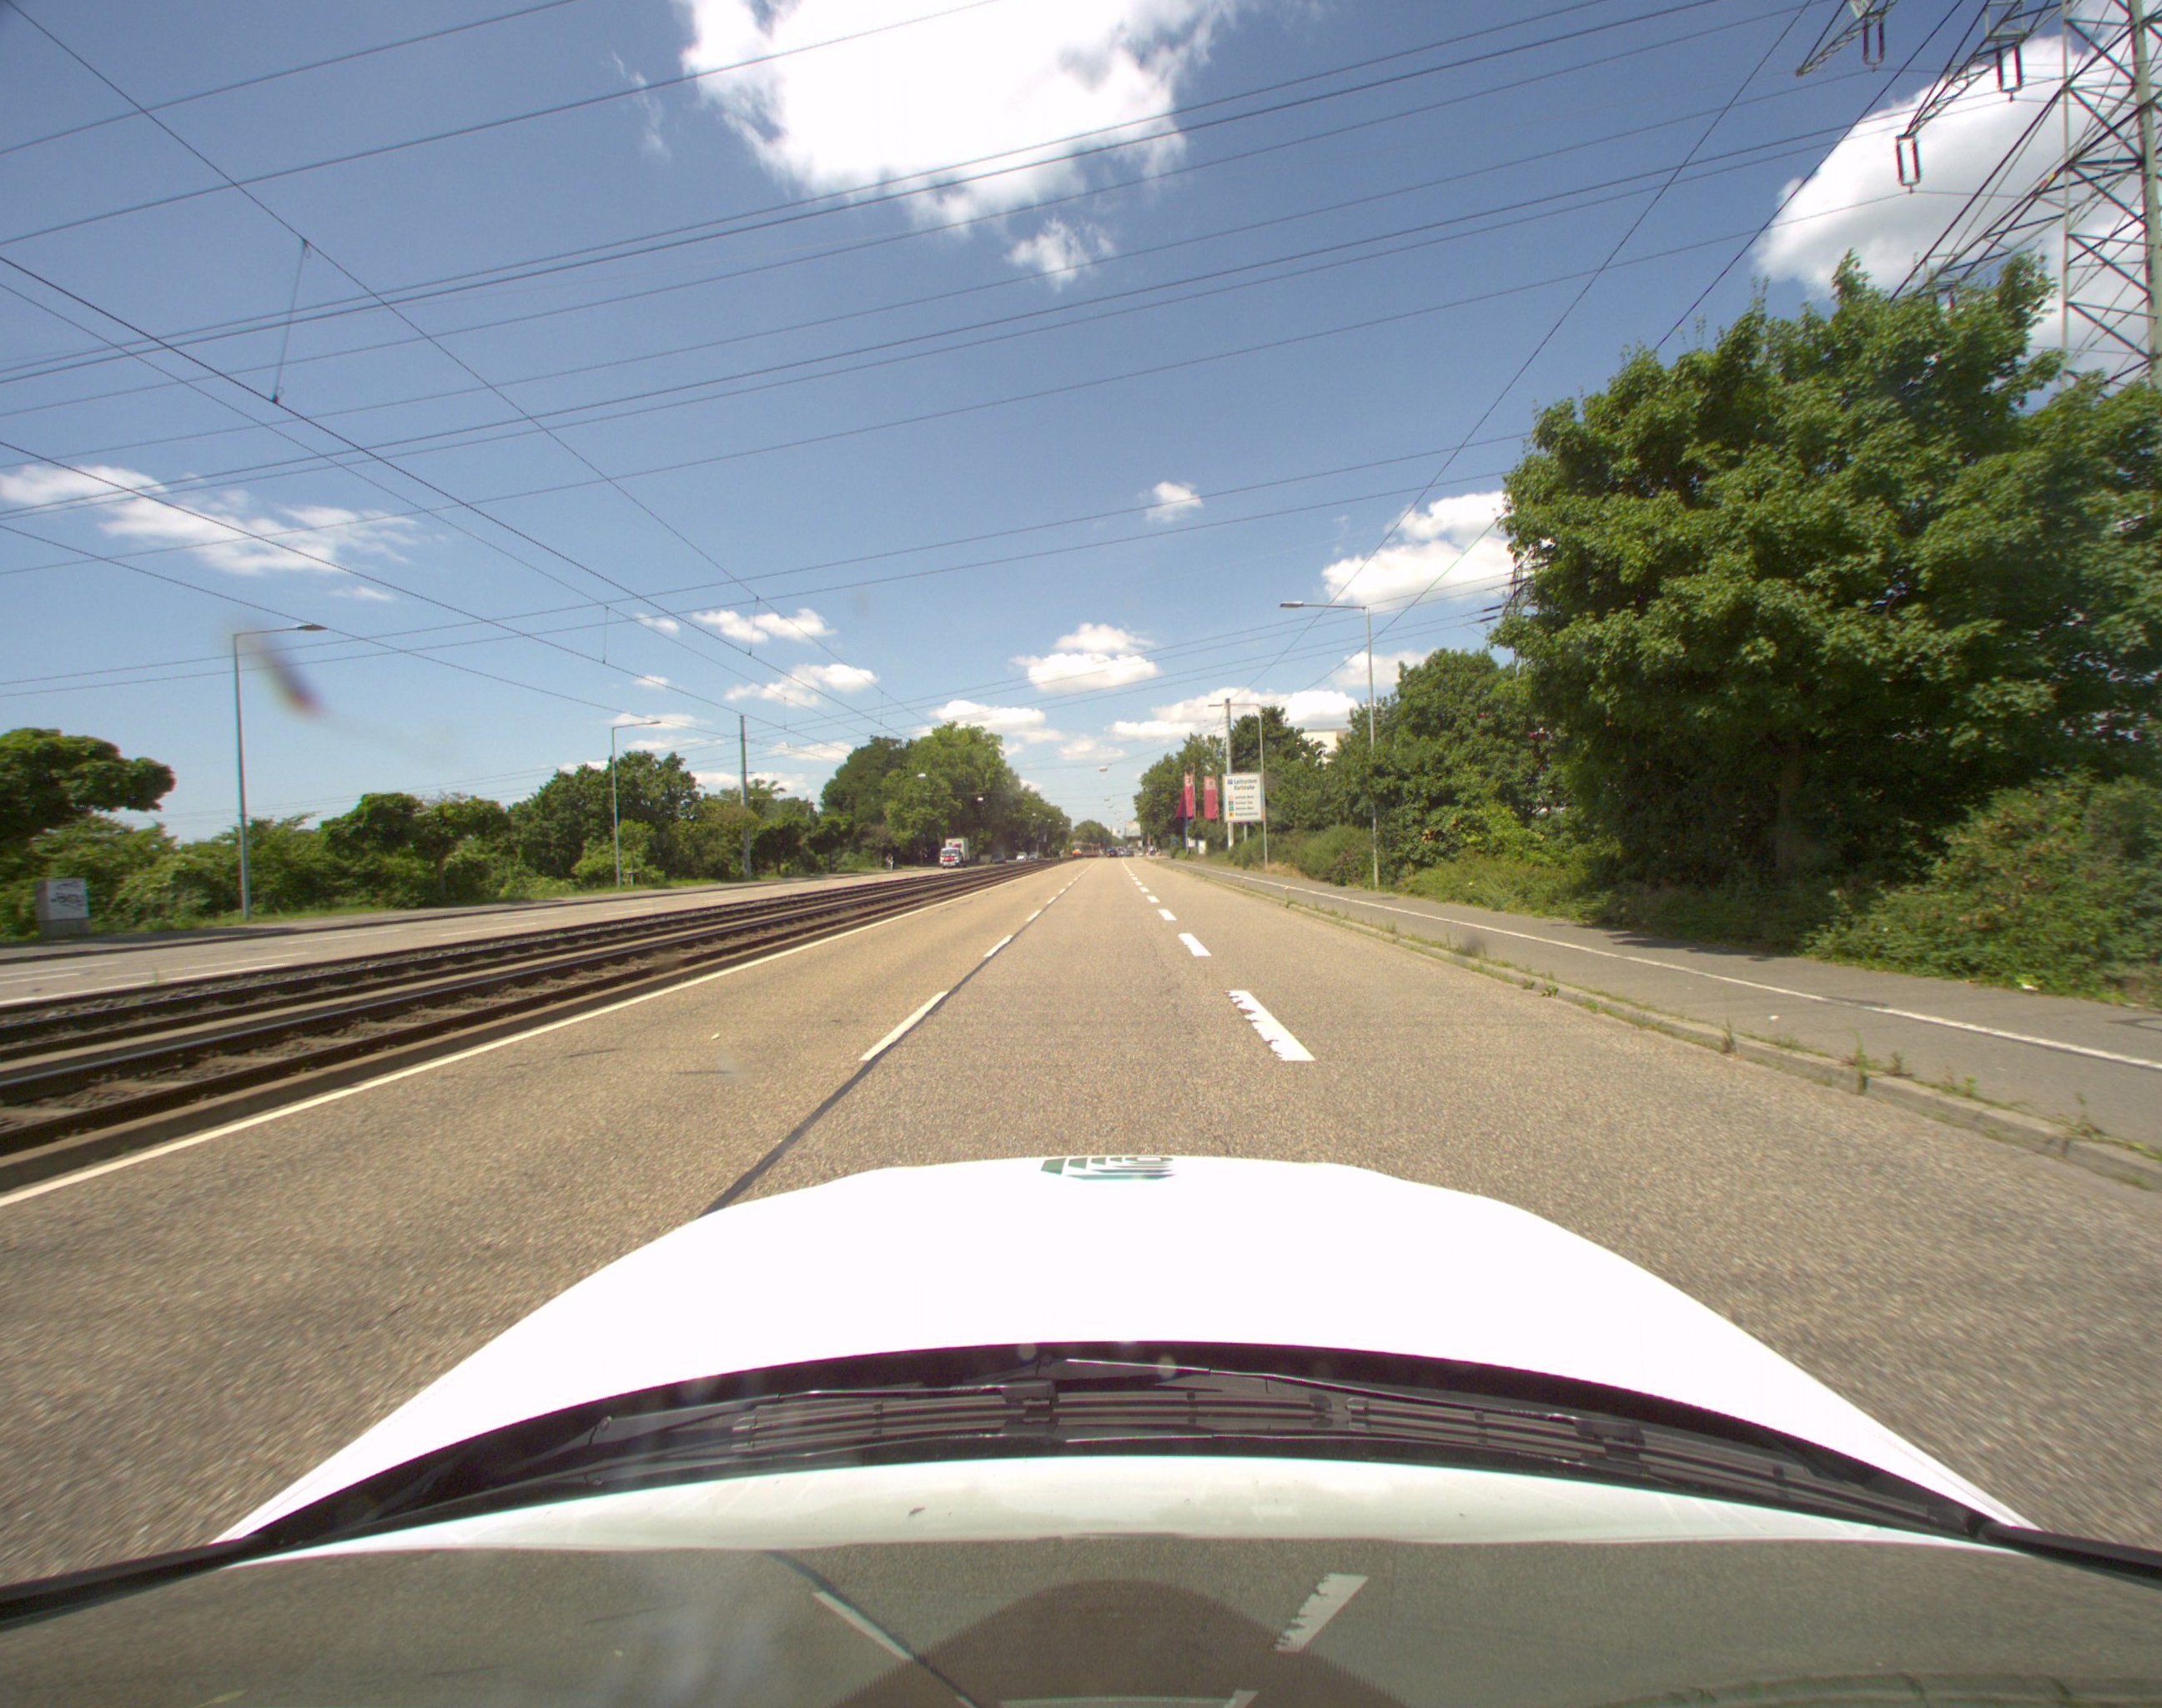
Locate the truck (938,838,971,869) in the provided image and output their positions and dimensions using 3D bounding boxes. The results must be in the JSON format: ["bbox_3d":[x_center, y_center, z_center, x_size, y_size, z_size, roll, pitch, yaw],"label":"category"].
[{"bbox_3d":[-13.722,-0.053,88.600,2.240,3.236,6.048,-2,0,4],"label":"truck"}]

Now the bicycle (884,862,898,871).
[{"bbox_3d":[-18.396,1.203,78.766,0.647,0.859,2.124,0,0,6],"label":"bicycle"}]

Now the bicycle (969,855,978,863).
[{"bbox_3d":[-14.889,0.704,112.583,0.619,0.979,2.059,1,0,8],"label":"bicycle"}]

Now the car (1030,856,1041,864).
[{"bbox_3d":[-8.761,1.081,156.814,1.631,1.436,3.722,-3,0,1],"label":"car"}]

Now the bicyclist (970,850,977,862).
[{"bbox_3d":[-14.875,0.250,112.502,0.619,1.617,1.064,1,0,8],"label":"bicyclist"}]

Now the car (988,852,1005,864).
[{"bbox_3d":[-11.647,0.579,112.079,1.746,1.535,3.958,-3,0,1],"label":"car"}]

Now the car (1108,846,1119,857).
[{"bbox_3d":[5.844,-0.447,147.150,1.892,1.805,3.978,0,0,2],"label":"car"}]

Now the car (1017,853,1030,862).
[{"bbox_3d":[-9.699,0.634,138.574,1.630,1.421,4.130,-3,0,3],"label":"car"}]

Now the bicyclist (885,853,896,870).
[{"bbox_3d":[-18.409,0.684,78.675,0.647,1.620,1.157,0,0,6],"label":"bicyclist"}]

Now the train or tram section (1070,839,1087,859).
[{"bbox_3d":[-0.486,-1.152,192.904,3.035,4.267,15.437,-2,0,3],"label":"train or tram section"}]
